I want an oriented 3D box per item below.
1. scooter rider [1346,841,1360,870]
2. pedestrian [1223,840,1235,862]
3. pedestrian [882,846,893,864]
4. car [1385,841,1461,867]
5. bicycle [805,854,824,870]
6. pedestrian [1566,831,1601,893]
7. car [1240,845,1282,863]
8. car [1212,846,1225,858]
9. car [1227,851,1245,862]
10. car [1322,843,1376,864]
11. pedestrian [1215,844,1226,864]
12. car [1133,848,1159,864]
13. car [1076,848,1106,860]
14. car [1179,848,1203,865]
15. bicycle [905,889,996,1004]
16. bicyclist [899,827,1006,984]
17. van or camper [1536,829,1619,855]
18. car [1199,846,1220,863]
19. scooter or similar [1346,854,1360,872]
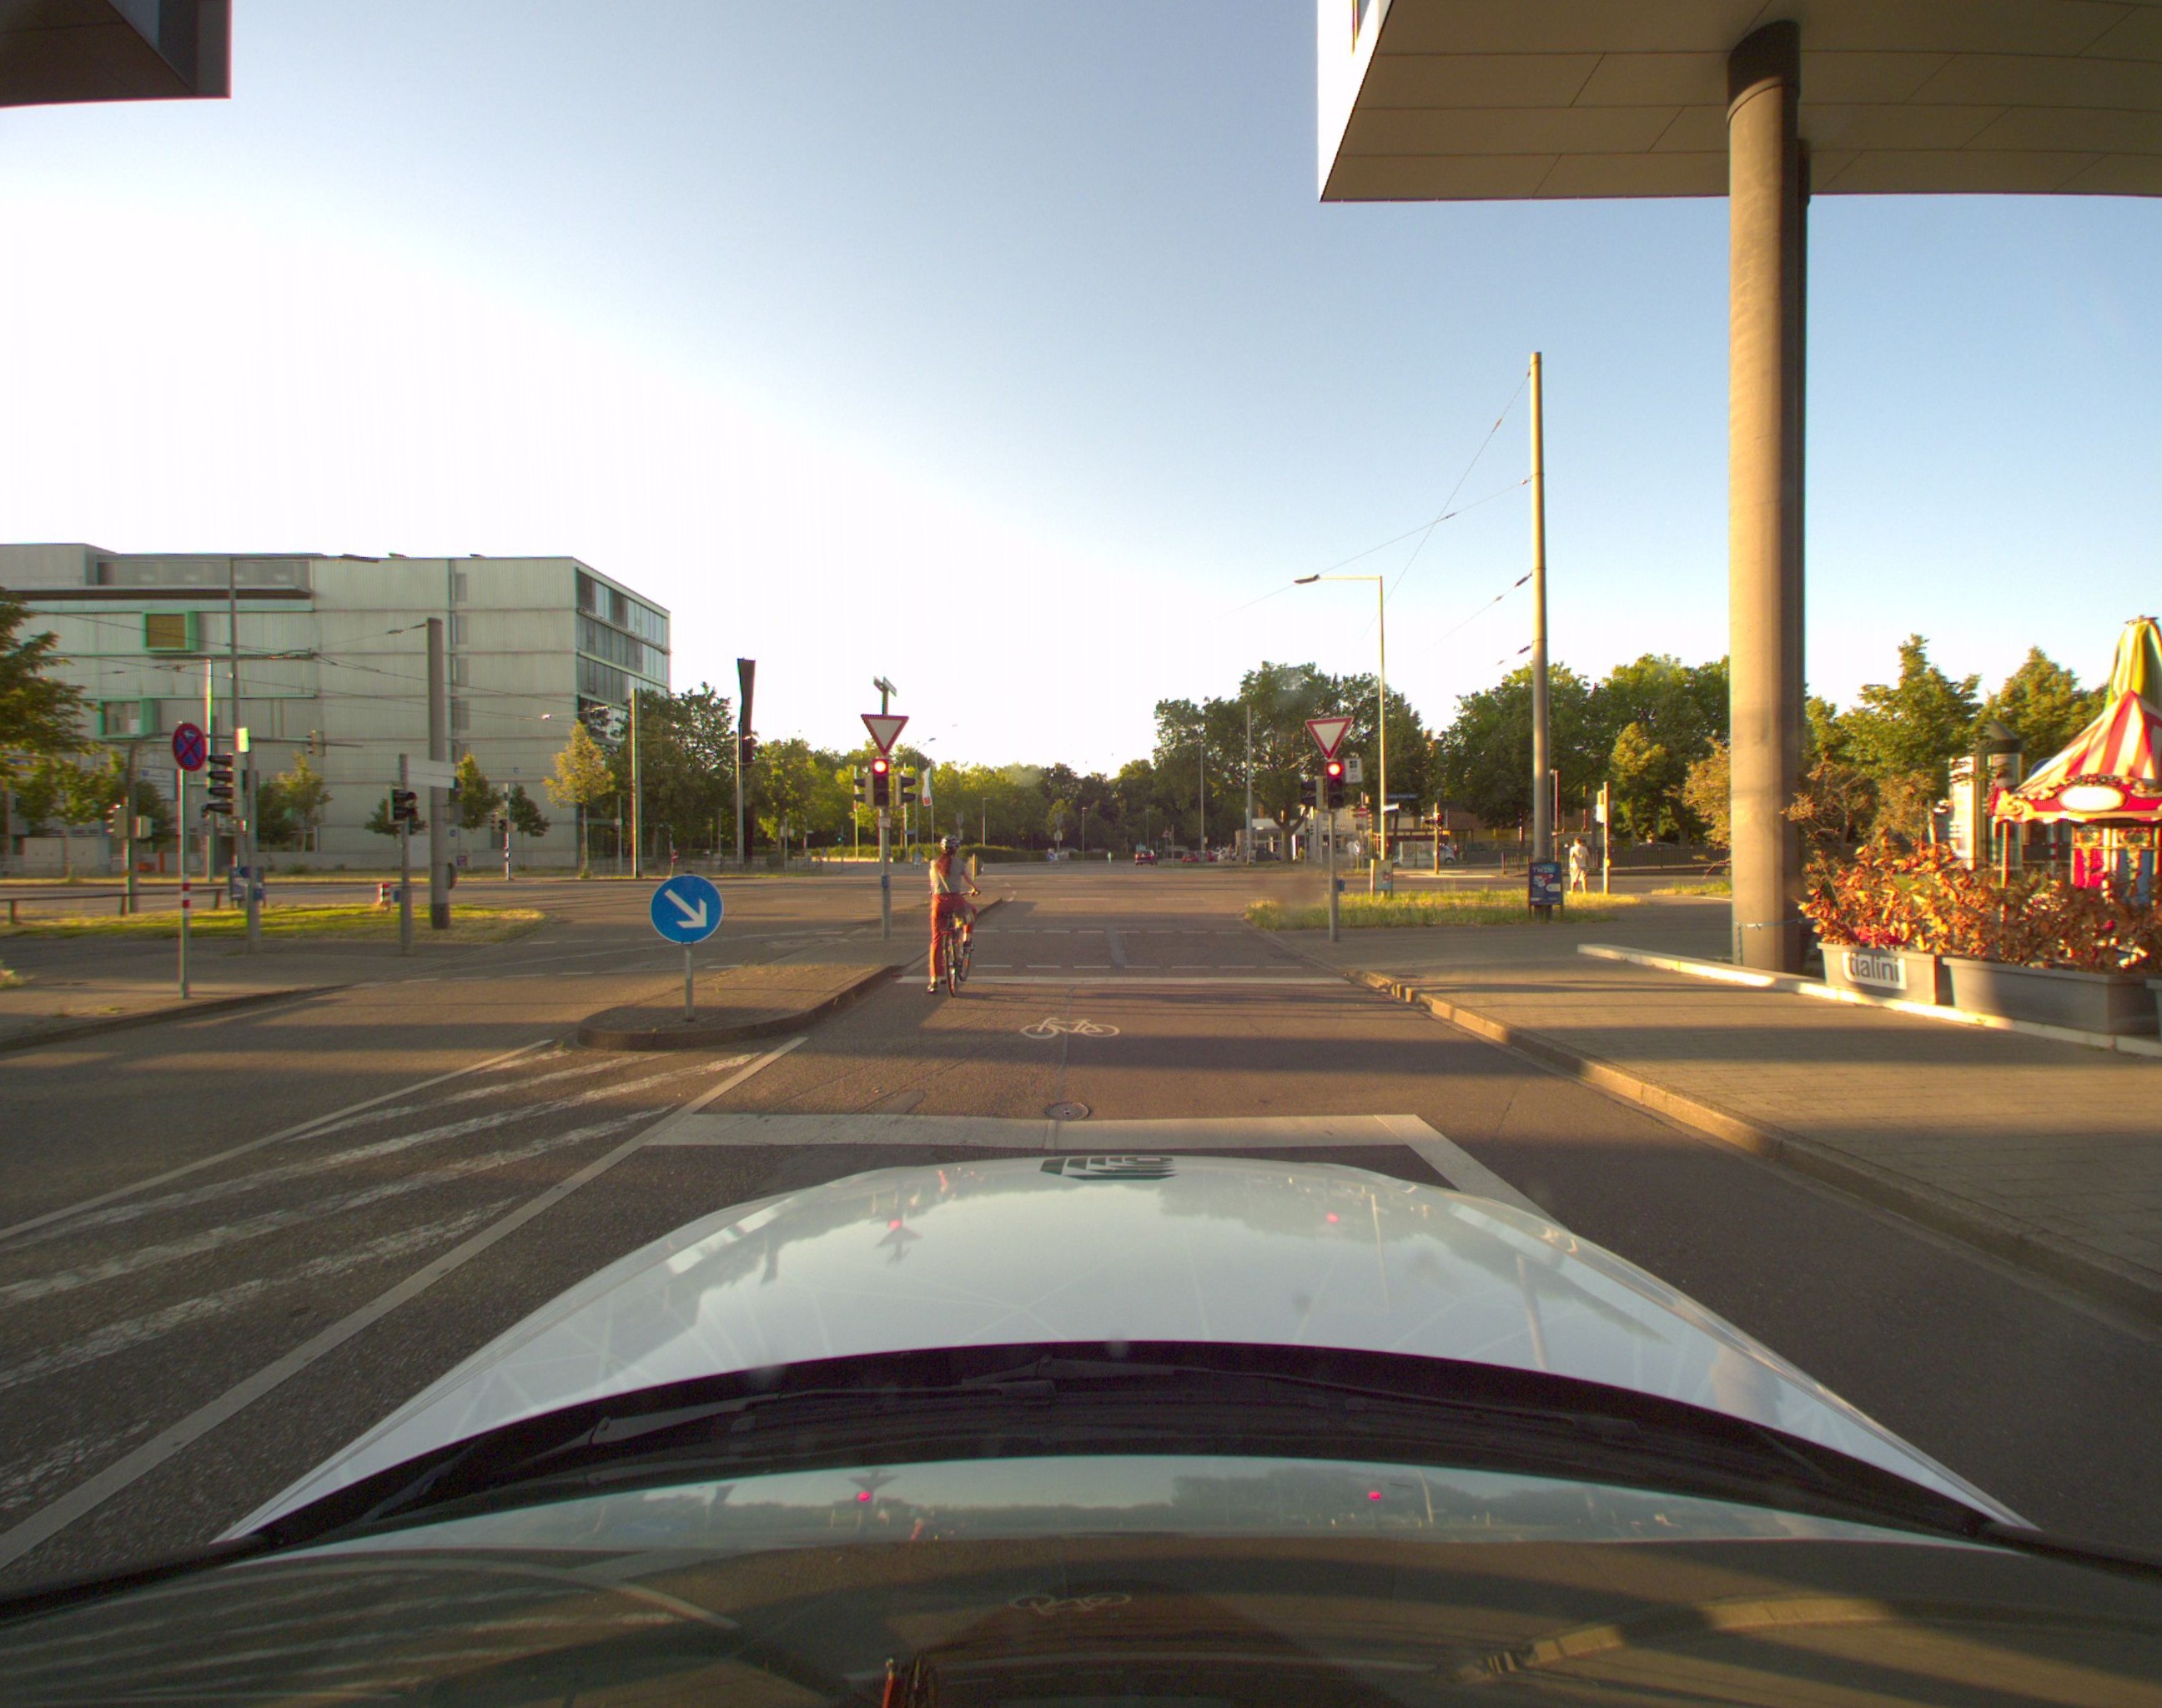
[{"bbox_3d":[17.336,0.111,51.947,0.699,1.855,0.669,0,-1,1],"label":"scooter rider"},{"bbox_3d":[12.335,-0.242,67.765,0.712,1.754,0.903,-1,0,26],"label":"pedestrian"},{"bbox_3d":[-19.543,0.118,82.206,0.898,1.754,0.715,-1,0,-24],"label":"pedestrian"},{"bbox_3d":[23.658,-0.026,56.491,4.523,1.728,1.860,-1,0,-3],"label":"car"},{"bbox_3d":[-20.743,0.619,63.393,0.697,1.136,2.392,-1,0,-1],"label":"bicycle"},{"bbox_3d":[14.877,0.237,24.133,0.755,1.791,0.806,0,0,22],"label":"pedestrian"},{"bbox_3d":[19.584,0.002,88.690,4.354,1.835,1.952,-1,0,6],"label":"car"},{"bbox_3d":[22.076,-0.334,130.880,1.982,2.013,4.010,-1,0,9],"label":"car"},{"bbox_3d":[21.941,0.328,115.157,1.899,1.602,4.020,0,0,20],"label":"car"},{"bbox_3d":[23.658,-0.035,72.091,4.211,1.846,2.002,-1,0,4],"label":"car"},{"bbox_3d":[11.672,0.002,68.155,0.712,1.639,0.903,-1,0,26],"label":"pedestrian"},{"bbox_3d":[6.610,0.220,82.259,1.742,1.541,4.418,-1,-1,15],"label":"car"},{"bbox_3d":[1.396,-0.023,109.324,3.970,1.561,2.002,-1,0,3],"label":"car"},{"bbox_3d":[12.922,0.257,95.590,1.852,1.874,3.896,0,0,23],"label":"car"},{"bbox_3d":[-1.447,0.994,9.414,0.632,1.068,2.123,-1,0,2],"label":"bicycle"},{"bbox_3d":[-1.454,0.565,9.429,1.028,1.717,0.996,-1,0,1],"label":"bicyclist"},{"bbox_3d":[47.939,-1.100,78.758,6.530,2.410,2.268,-1,0,6],"label":"van or camper"},{"bbox_3d":[16.254,0.082,103.131,1.899,2.047,4.020,0,0,20],"label":"car"},{"bbox_3d":[17.321,0.554,51.913,0.508,1.090,1.243,-1,0,2],"label":"scooter or similar"}]
